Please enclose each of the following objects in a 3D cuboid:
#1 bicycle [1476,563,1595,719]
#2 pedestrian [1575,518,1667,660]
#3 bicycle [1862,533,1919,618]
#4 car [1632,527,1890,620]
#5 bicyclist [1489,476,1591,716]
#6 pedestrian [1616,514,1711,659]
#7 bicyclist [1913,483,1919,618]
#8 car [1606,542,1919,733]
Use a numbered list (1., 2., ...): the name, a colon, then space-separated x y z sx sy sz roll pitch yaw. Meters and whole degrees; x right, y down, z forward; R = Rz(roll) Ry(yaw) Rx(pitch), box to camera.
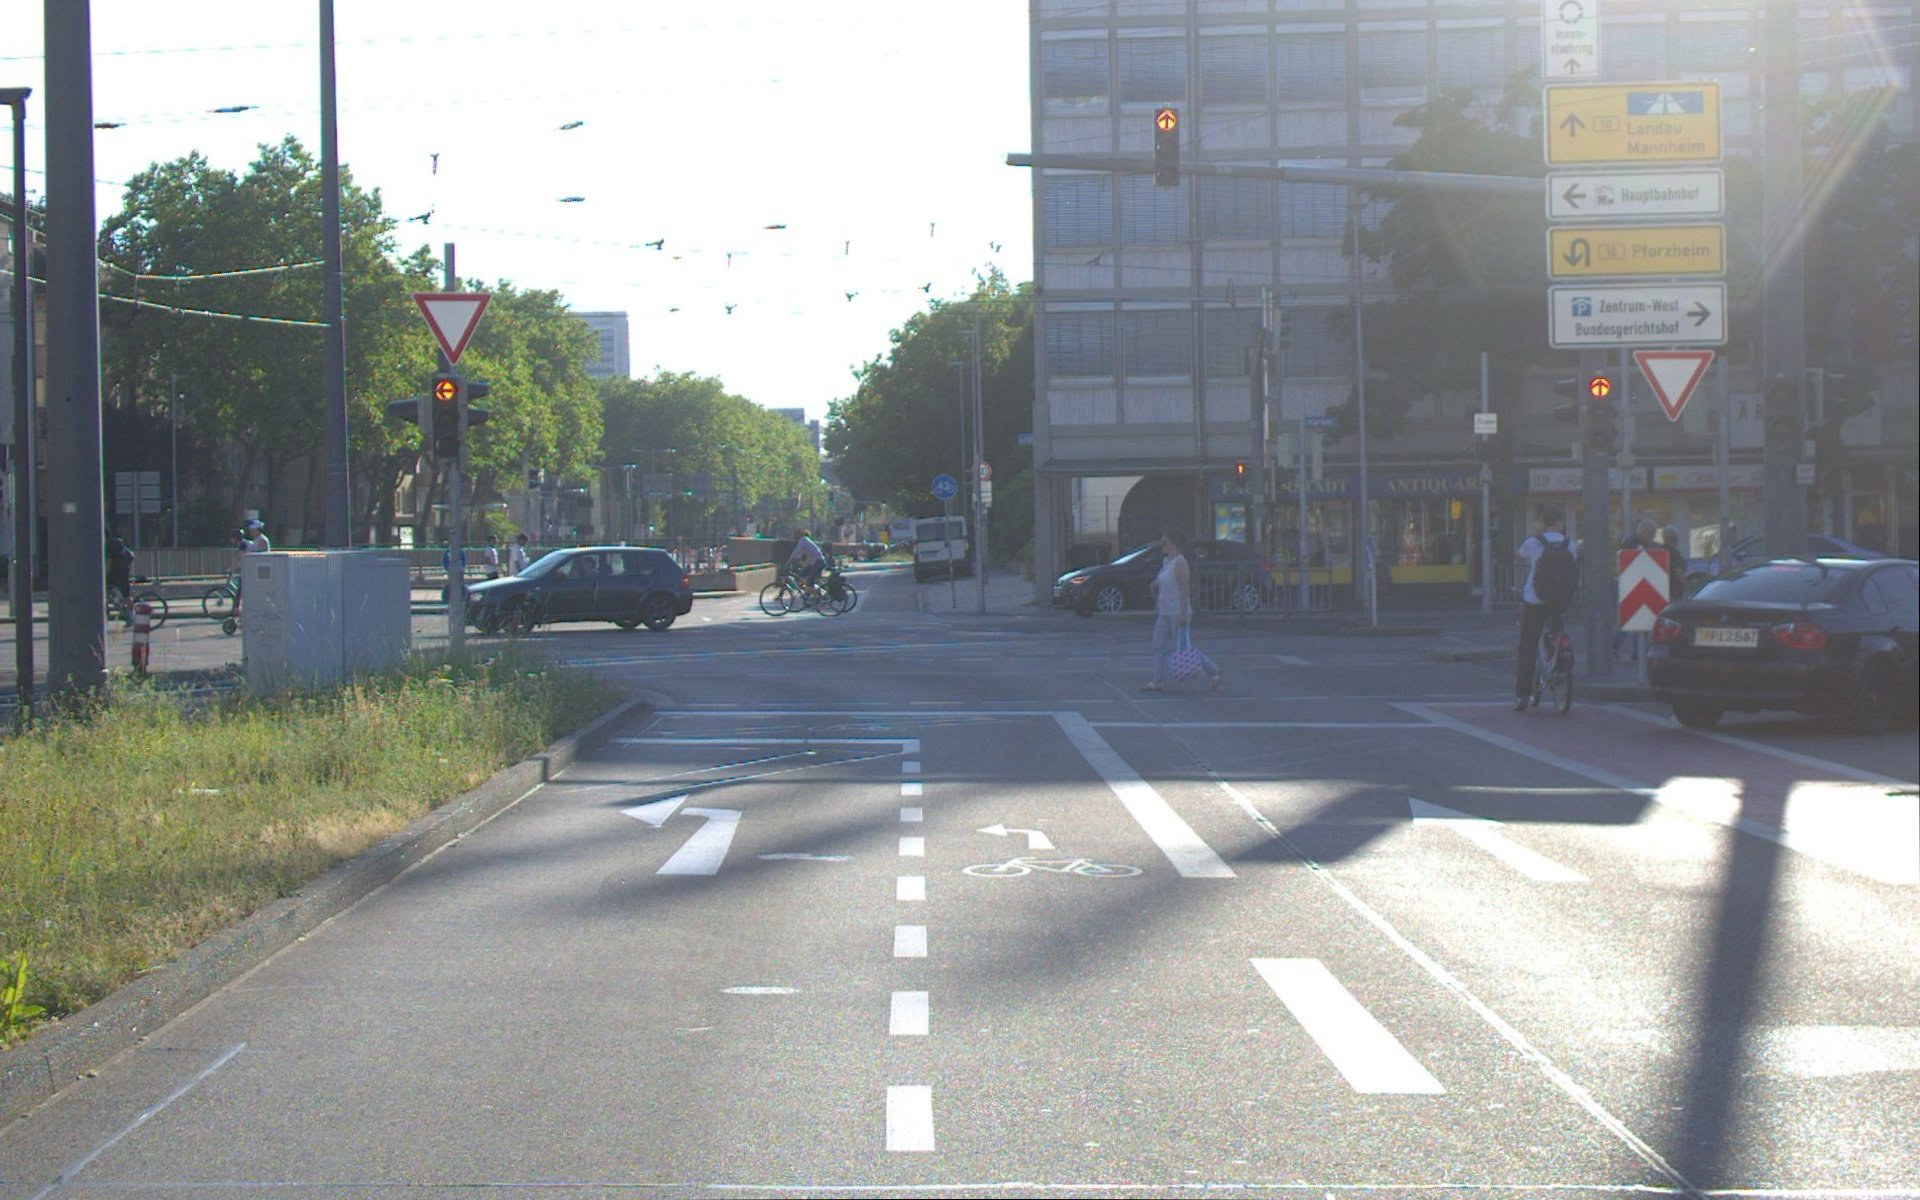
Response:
1. bicycle: 4.943 0.330 29.628 0.644 1.219 2.048 1 3 0
2. pedestrian: 7.528 -0.130 39.173 0.878 1.592 0.655 -1 1 -3
3. bicycle: 12.242 -0.311 42.075 2.226 1.023 0.682 -1 1 3
4. car: 14.745 -0.496 63.469 4.332 1.590 2.000 -1 1 4
5. bicyclist: 4.963 -0.052 29.453 0.643 2.006 1.067 1 2 0
6. pedestrian: 7.855 -0.159 38.413 0.878 1.592 0.655 -1 1 -3
7. bicyclist: 12.235 -0.607 42.083 0.959 1.656 0.691 -1 1 3
8. car: 7.344 0.249 27.772 3.987 1.421 1.749 -1 1 -30
